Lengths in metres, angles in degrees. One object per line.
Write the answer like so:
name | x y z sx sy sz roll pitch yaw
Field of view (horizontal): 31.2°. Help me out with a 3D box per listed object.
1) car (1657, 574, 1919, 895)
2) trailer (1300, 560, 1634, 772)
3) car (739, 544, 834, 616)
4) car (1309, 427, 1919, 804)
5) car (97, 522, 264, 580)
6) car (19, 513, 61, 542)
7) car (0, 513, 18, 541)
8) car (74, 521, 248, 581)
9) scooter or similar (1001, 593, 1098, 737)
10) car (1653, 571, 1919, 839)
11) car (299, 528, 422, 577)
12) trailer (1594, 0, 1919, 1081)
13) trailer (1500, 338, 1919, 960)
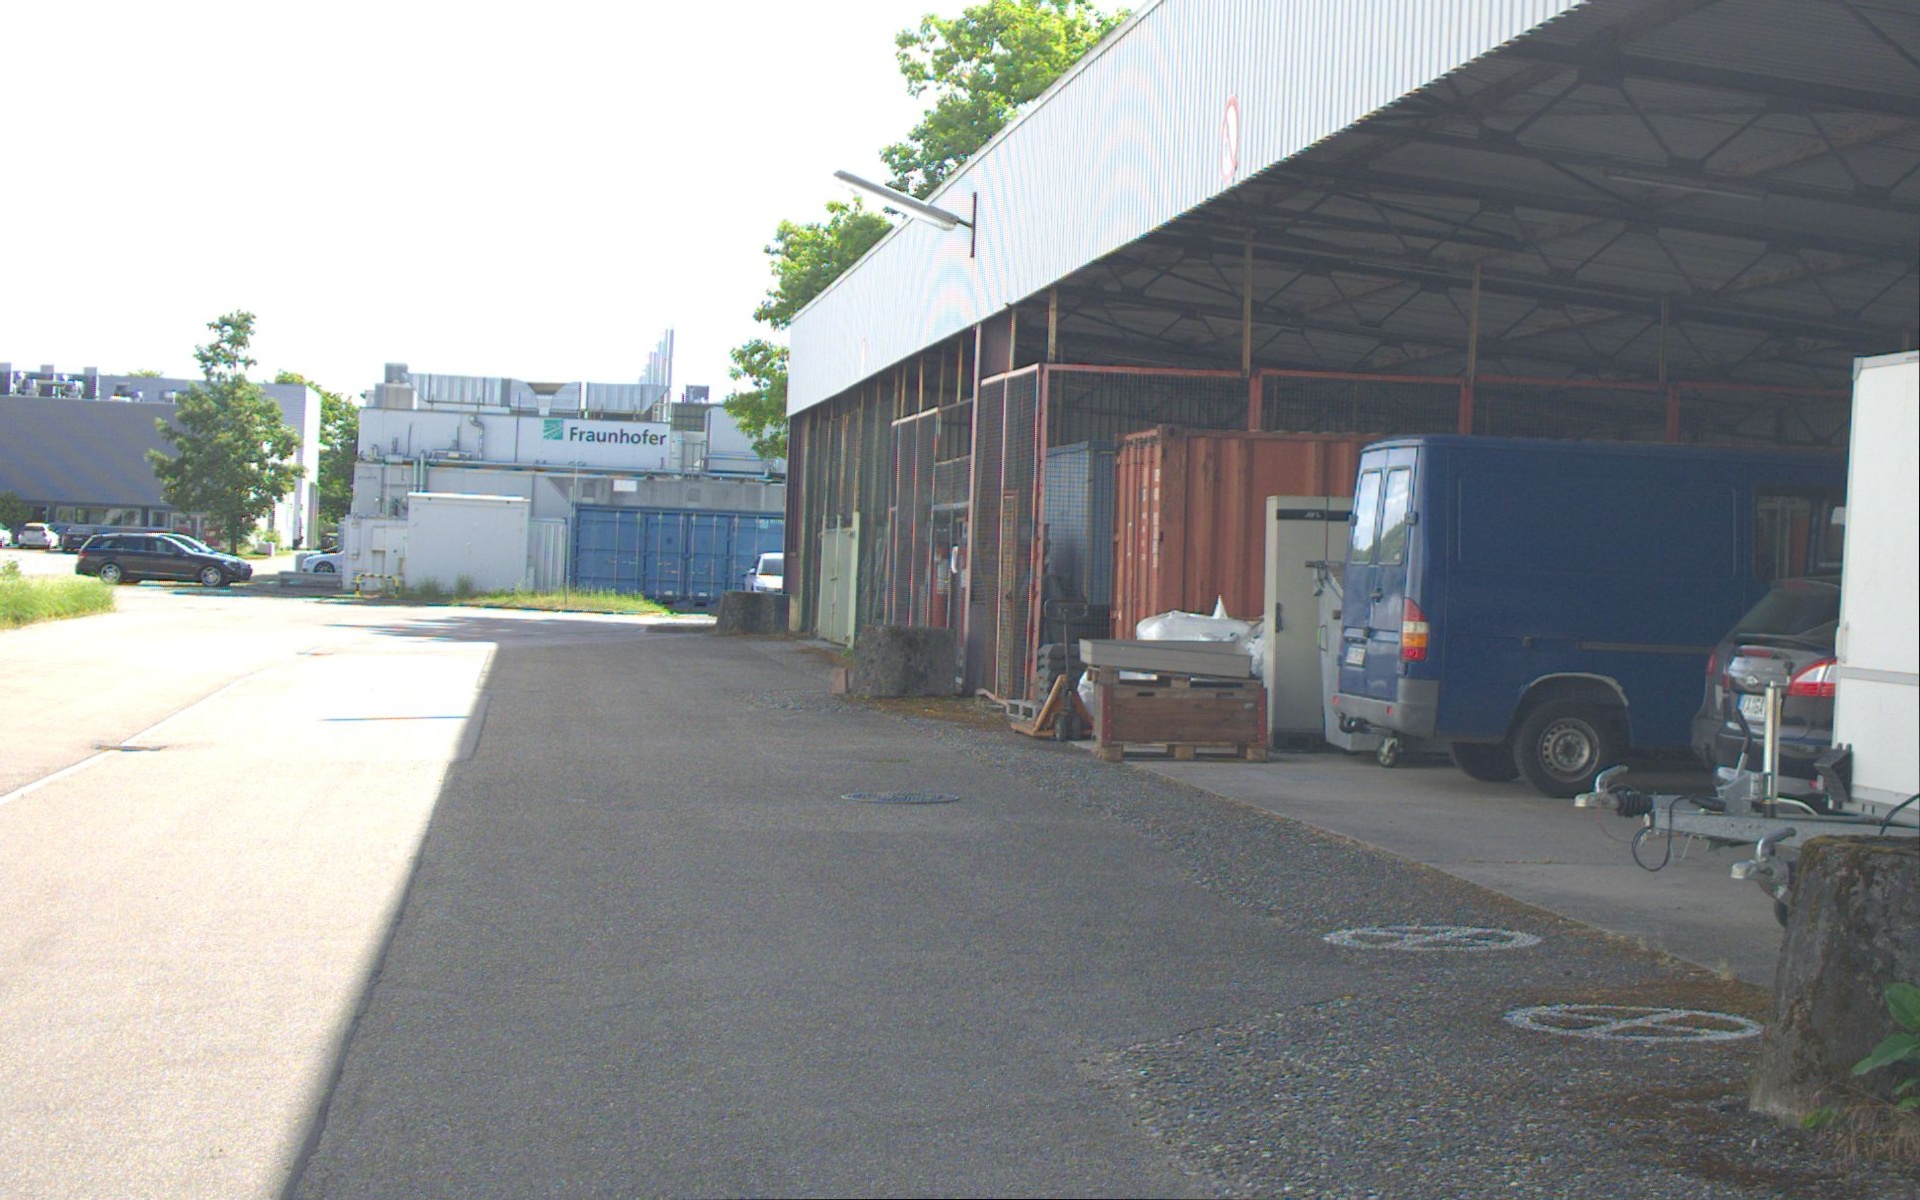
car | 5.808 0.622 16.715 4.342 1.428 1.865 1 1 -10
trailer | 3.708 0.472 25.386 2.094 1.457 1.642 2 0 -4
car | -4.394 -0.525 86.677 1.980 1.588 4.342 3 2 -8
car | 5.158 0.125 22.935 5.215 2.289 2.084 2 0 -8
car | -22.725 -1.420 100.389 4.528 1.438 1.904 2 -1 -7
car | -51.189 -4.018 191.358 1.877 1.532 4.037 1 1 -10
car | -53.471 -4.045 190.853 1.877 1.532 4.037 1 1 -10
car | -22.546 -1.373 97.128 4.528 1.438 1.988 2 -1 -7
scooter or similar | 0.722 0.516 28.222 0.520 1.131 1.593 2 0 -8
car | 6.300 0.586 19.856 4.106 1.449 1.851 1 0 -7
car | -21.800 -1.709 125.181 4.278 1.564 1.988 2 -1 -7
trailer | 7.599 -0.217 11.761 10.291 3.284 2.676 1 1 -6
trailer | 4.655 0.197 13.950 4.541 2.327 1.689 1 1 -6
